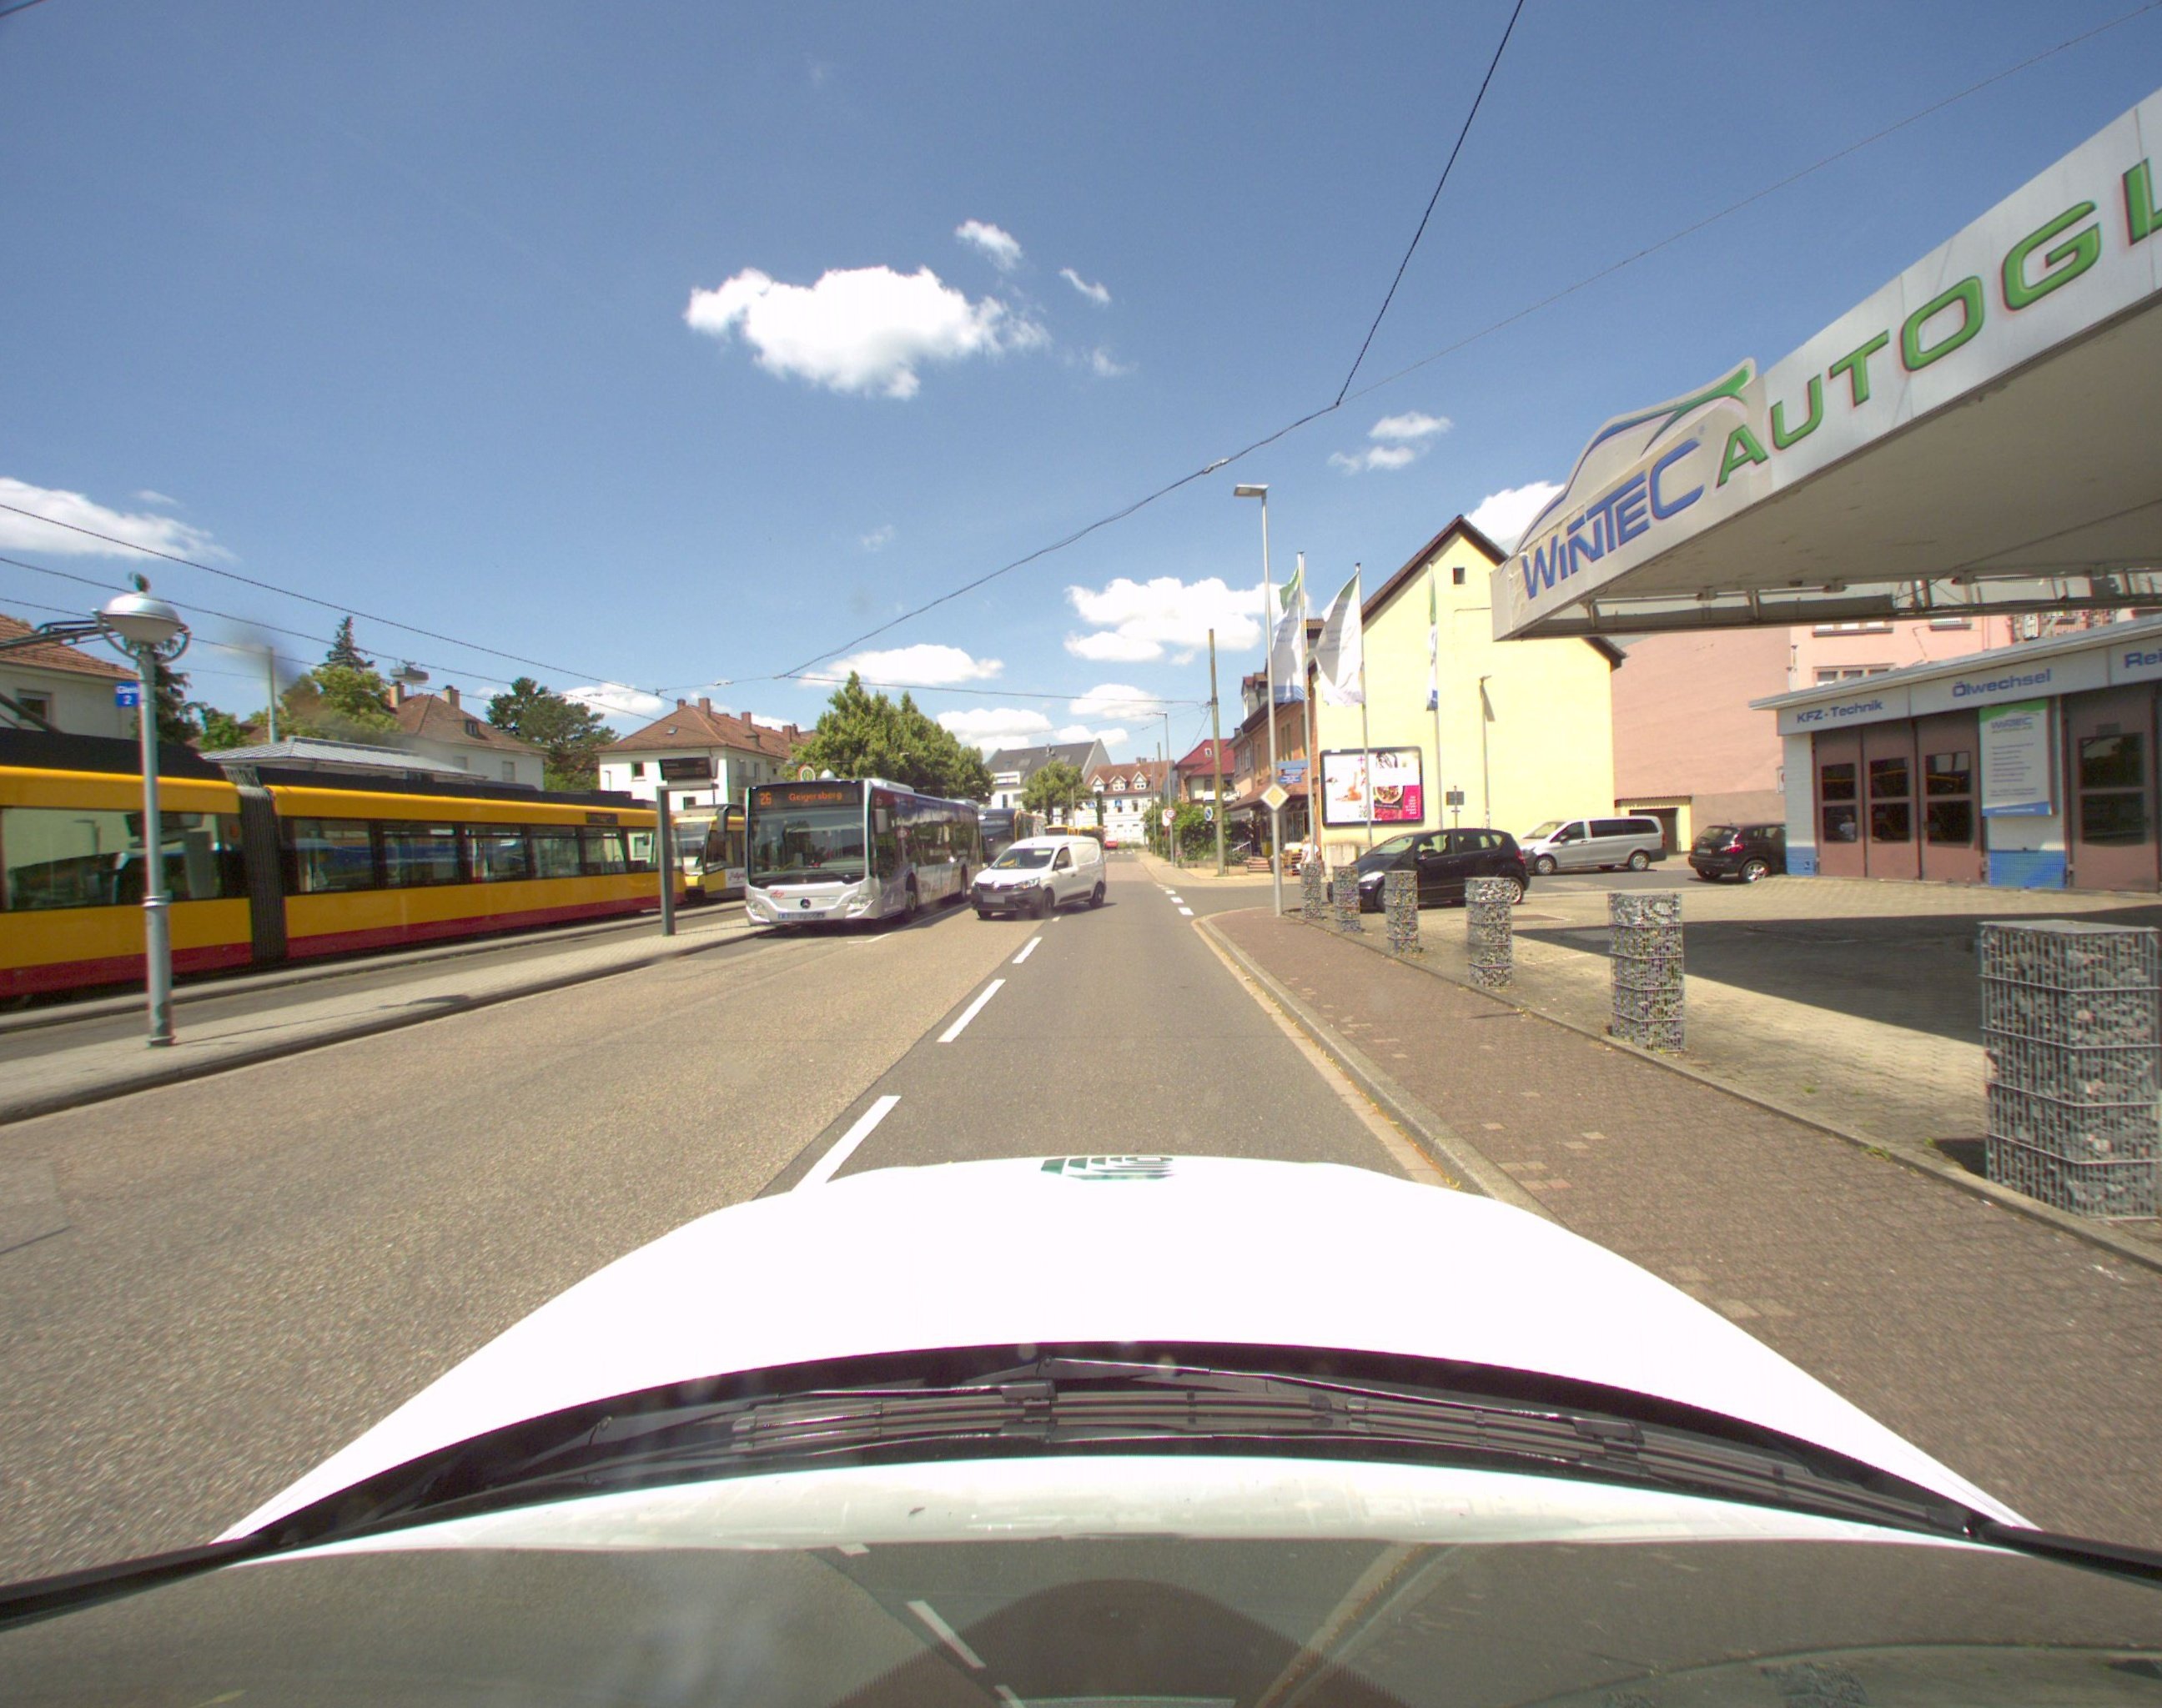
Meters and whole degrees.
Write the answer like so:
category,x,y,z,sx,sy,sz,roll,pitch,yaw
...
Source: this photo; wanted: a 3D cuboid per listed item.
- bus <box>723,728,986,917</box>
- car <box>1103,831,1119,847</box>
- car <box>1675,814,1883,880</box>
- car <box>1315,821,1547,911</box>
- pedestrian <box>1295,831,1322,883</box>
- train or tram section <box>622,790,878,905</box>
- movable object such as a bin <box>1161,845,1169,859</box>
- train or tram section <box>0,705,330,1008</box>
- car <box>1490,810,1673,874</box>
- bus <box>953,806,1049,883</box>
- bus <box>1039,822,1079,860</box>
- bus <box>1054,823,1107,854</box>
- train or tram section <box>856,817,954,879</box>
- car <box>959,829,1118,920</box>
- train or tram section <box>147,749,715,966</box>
category,x,y,z,sx,sy,sz,roll,pitch,yaw
bus,-4.843,-0.543,20.880,2.896,3.427,12.046,0,0,2
car,4.033,-1.921,108.329,1.985,2.014,4.003,0,0,3
car,18.484,-0.175,21.721,3.858,1.543,1.845,-2,0,4
car,6.938,0.208,16.311,3.877,1.543,1.836,-2,0,-10
pedestrian,7.536,0.101,26.938,0.698,1.641,0.664,-3,2,23
train or tram section,-12.638,-0.293,34.476,2.951,3.642,17.365,0,1,3
movable object such as a bin,5.874,-0.124,57.127,0.405,0.907,0.729,-6,0,0
train or tram section,-13.845,0.072,11.043,2.951,3.495,4.421,-3,0,3
car,16.892,-0.394,27.635,5.039,1.861,1.908,-2,0,-1
bus,-3.621,-0.366,40.460,2.886,3.247,12.206,0,0,3
bus,-1.936,-1.169,76.743,2.896,3.247,12.126,0,1,2
bus,0.112,-1.793,90.098,2.759,3.208,12.356,0,2,14
train or tram section,-11.563,-0.431,55.464,2.951,3.642,14.005,0,1,3
car,-0.836,0.430,19.152,1.688,1.850,4.740,-1,0,25
train or tram section,-13.405,-0.004,19.537,2.951,3.495,12.667,0,1,3
